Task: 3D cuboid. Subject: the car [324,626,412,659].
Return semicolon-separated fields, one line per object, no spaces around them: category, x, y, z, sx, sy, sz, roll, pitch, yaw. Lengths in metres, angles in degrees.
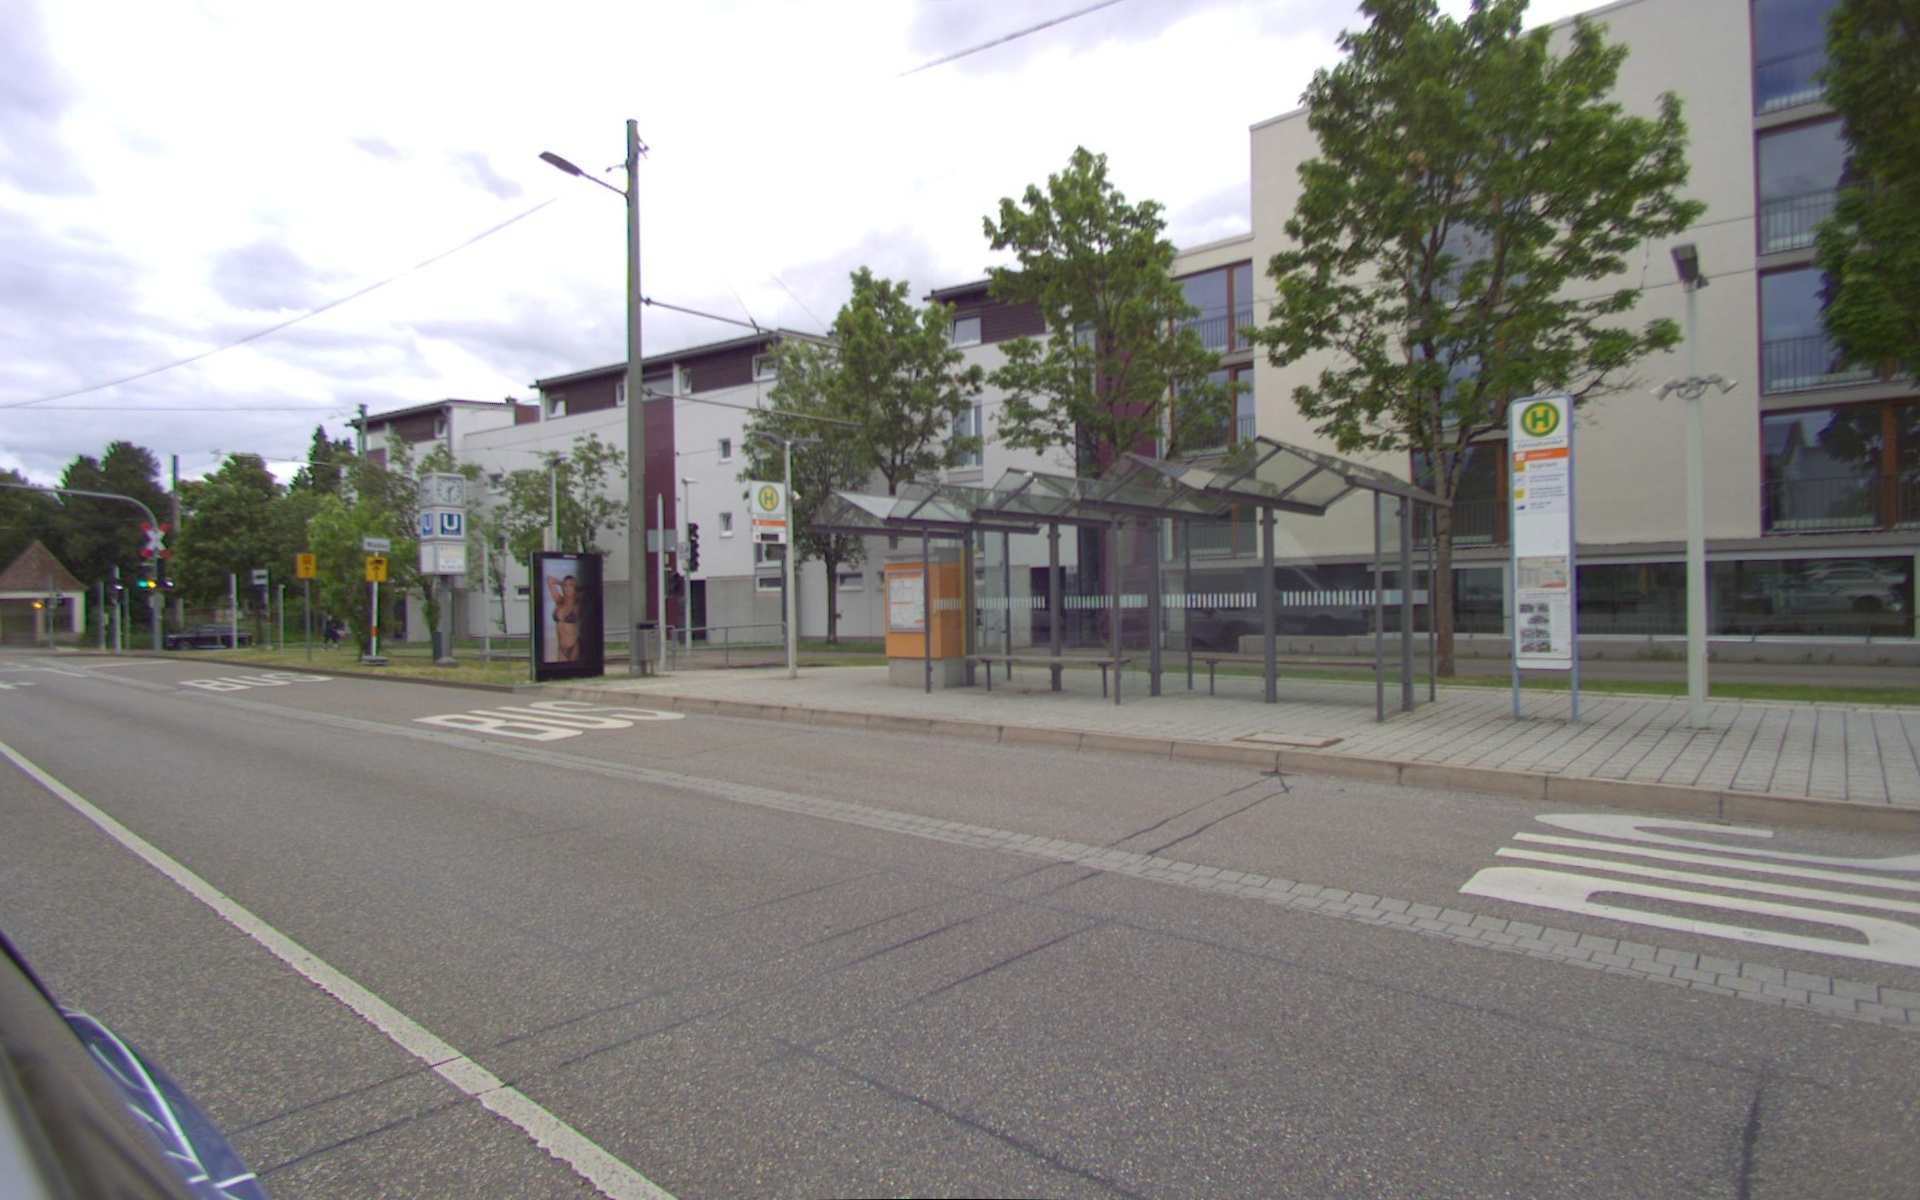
car;-38.184;2.765;65.363;1.995;2.029;4.418;-1;-4;34

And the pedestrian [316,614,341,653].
pedestrian;-27.594;1.459;44.213;0.817;1.657;0.669;-4;-3;35

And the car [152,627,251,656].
car;-46.400;2.539;62.004;1.960;1.682;4.438;-1;-3;33
